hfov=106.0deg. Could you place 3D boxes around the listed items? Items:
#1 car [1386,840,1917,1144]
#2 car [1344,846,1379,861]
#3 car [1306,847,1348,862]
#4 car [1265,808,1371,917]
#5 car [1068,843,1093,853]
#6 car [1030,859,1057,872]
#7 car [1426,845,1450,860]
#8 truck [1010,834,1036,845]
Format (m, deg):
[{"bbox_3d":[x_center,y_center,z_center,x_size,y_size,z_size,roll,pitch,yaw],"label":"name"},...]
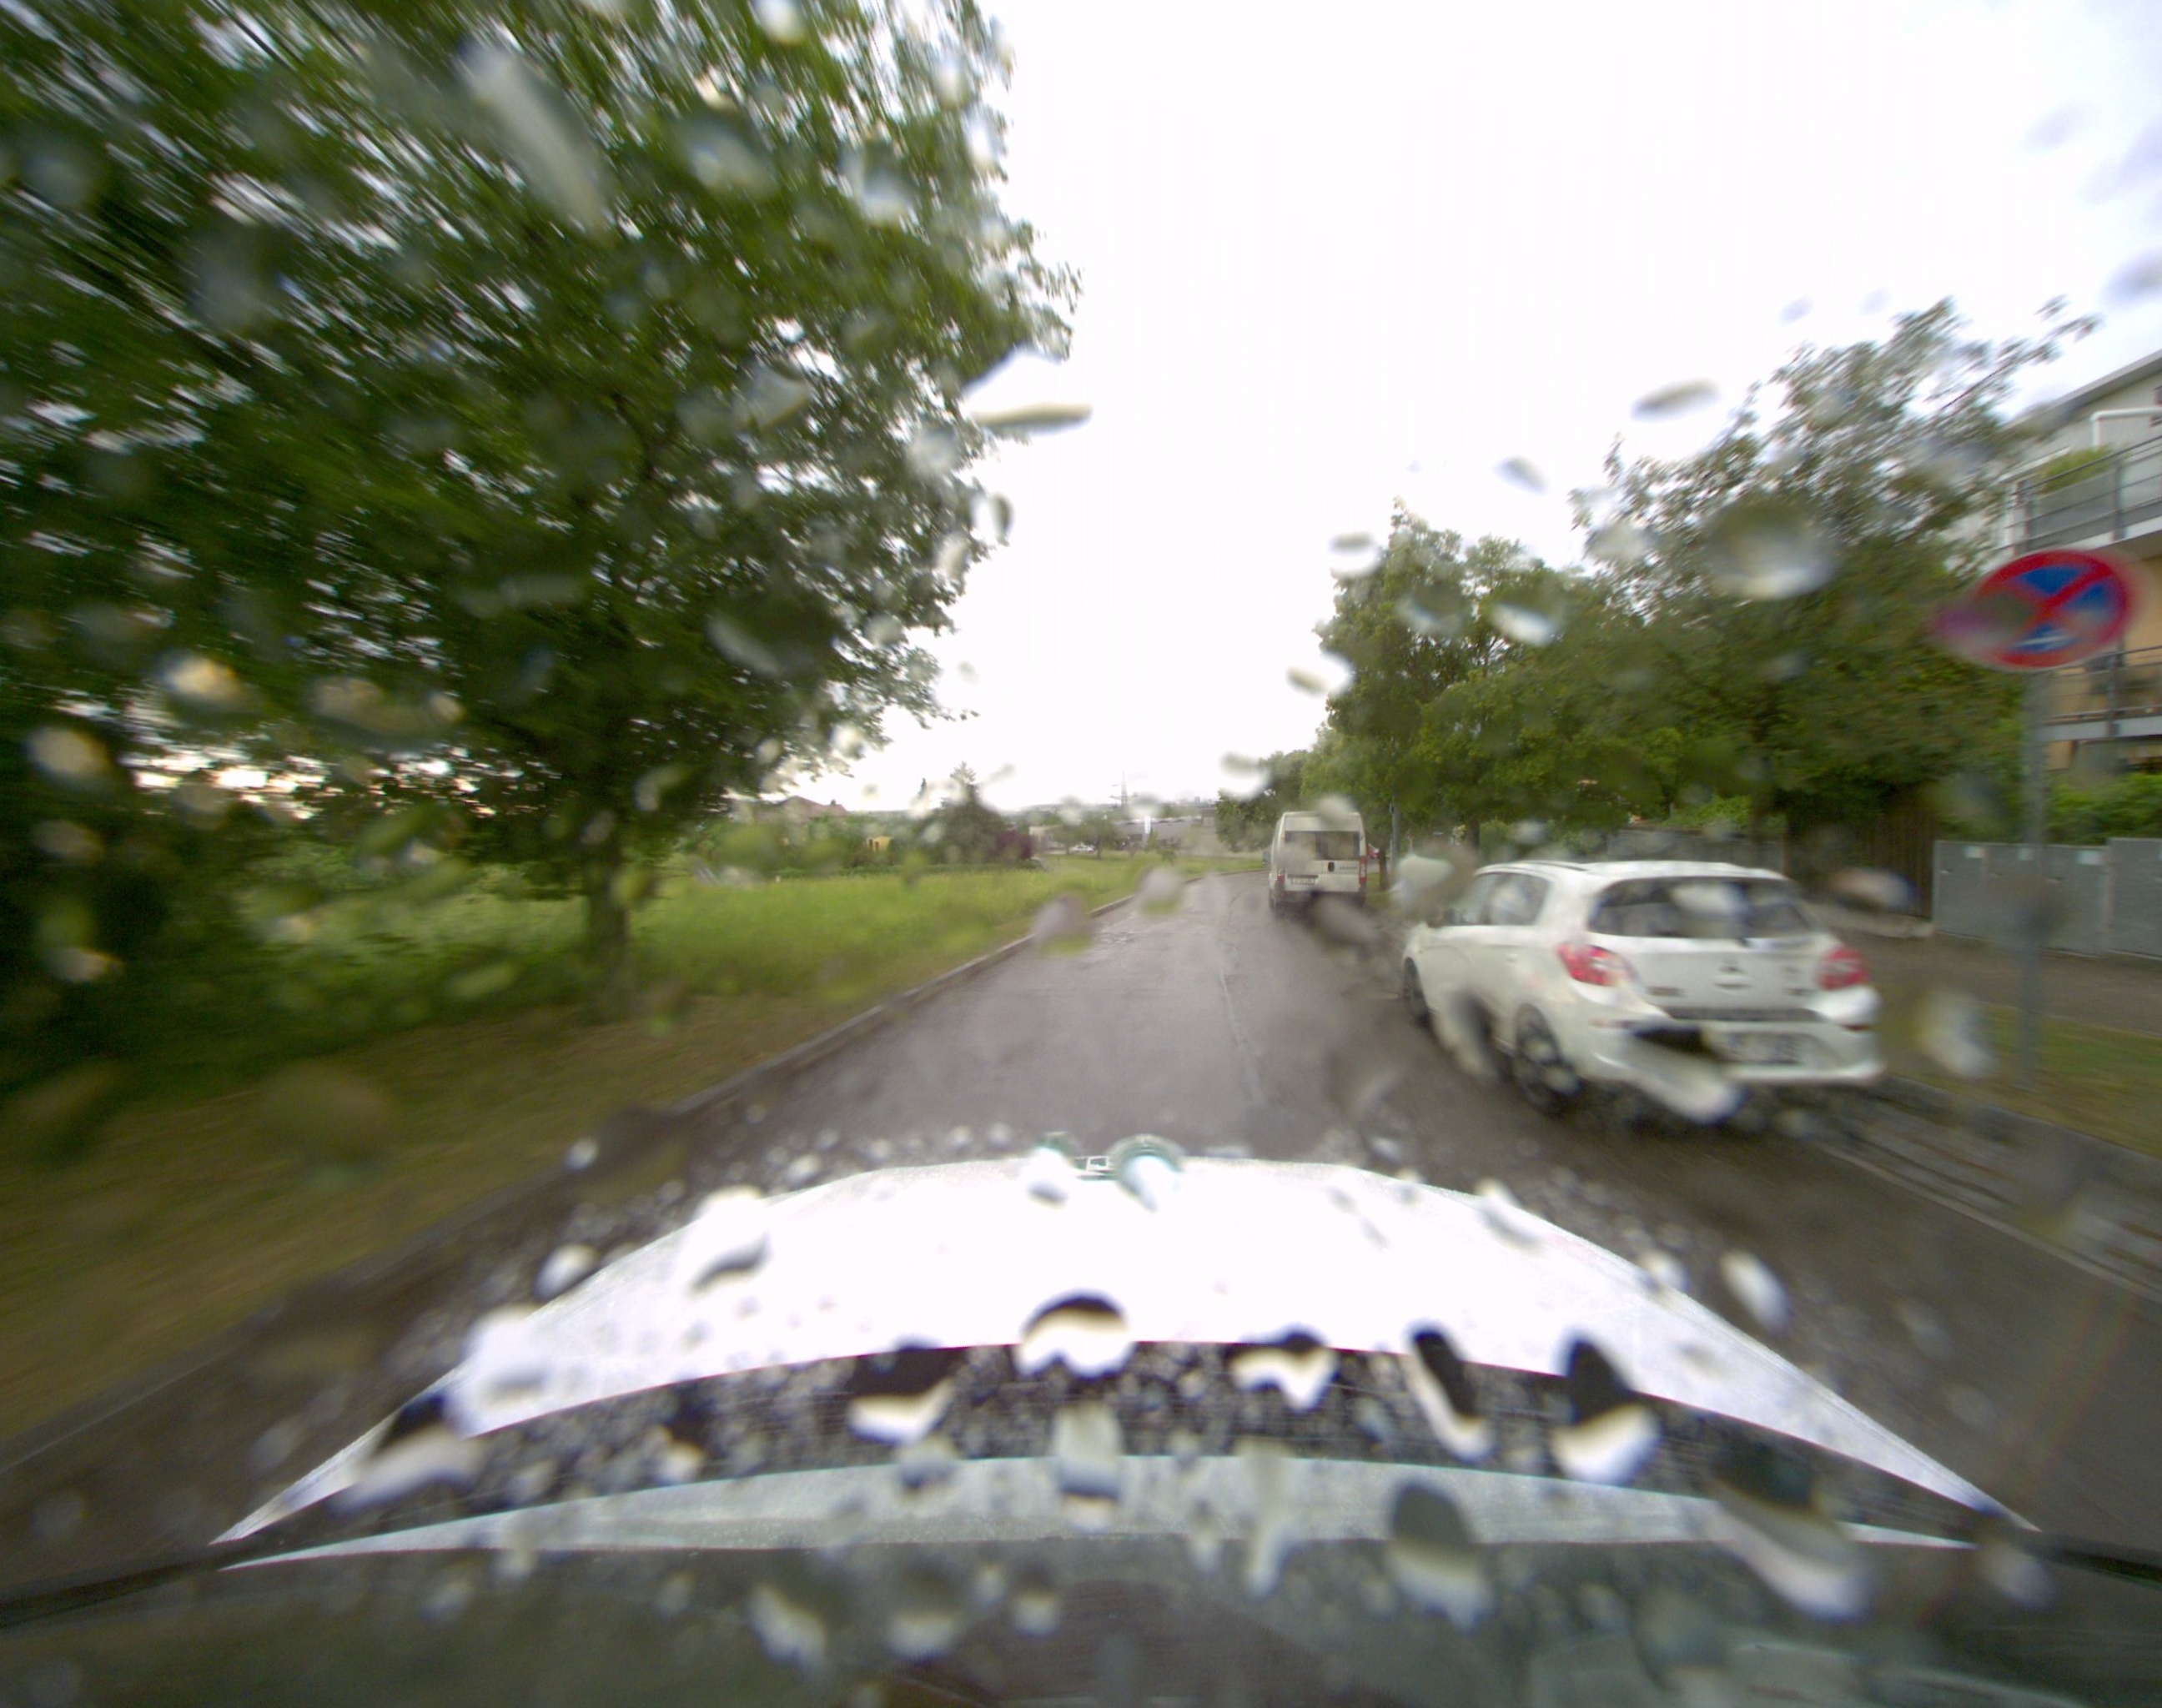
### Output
[{"bbox_3d":[3.551,0.698,5.973,1.597,1.503,3.733,-1,0,6],"label":"car"},{"bbox_3d":[32.649,-0.090,94.929,3.527,1.605,1.703,-2,-1,30],"label":"car"},{"bbox_3d":[25.214,0.061,83.571,3.834,1.547,1.784,-1,0,26],"label":"car"},{"bbox_3d":[5.997,0.197,21.278,2.104,2.467,5.526,-1,0,11],"label":"car"},{"bbox_3d":[-0.138,-1.167,149.956,4.284,1.701,1.782,1,2,-26],"label":"car"},{"bbox_3d":[-4.825,1.477,105.325,1.787,1.596,3.960,-2,1,-32],"label":"car"},{"bbox_3d":[41.470,-0.194,94.579,1.670,1.551,3.721,1,3,40],"label":"car"},{"bbox_3d":[-13.186,-3.284,183.908,5.339,2.308,2.415,0,2,-26],"label":"truck"}]
